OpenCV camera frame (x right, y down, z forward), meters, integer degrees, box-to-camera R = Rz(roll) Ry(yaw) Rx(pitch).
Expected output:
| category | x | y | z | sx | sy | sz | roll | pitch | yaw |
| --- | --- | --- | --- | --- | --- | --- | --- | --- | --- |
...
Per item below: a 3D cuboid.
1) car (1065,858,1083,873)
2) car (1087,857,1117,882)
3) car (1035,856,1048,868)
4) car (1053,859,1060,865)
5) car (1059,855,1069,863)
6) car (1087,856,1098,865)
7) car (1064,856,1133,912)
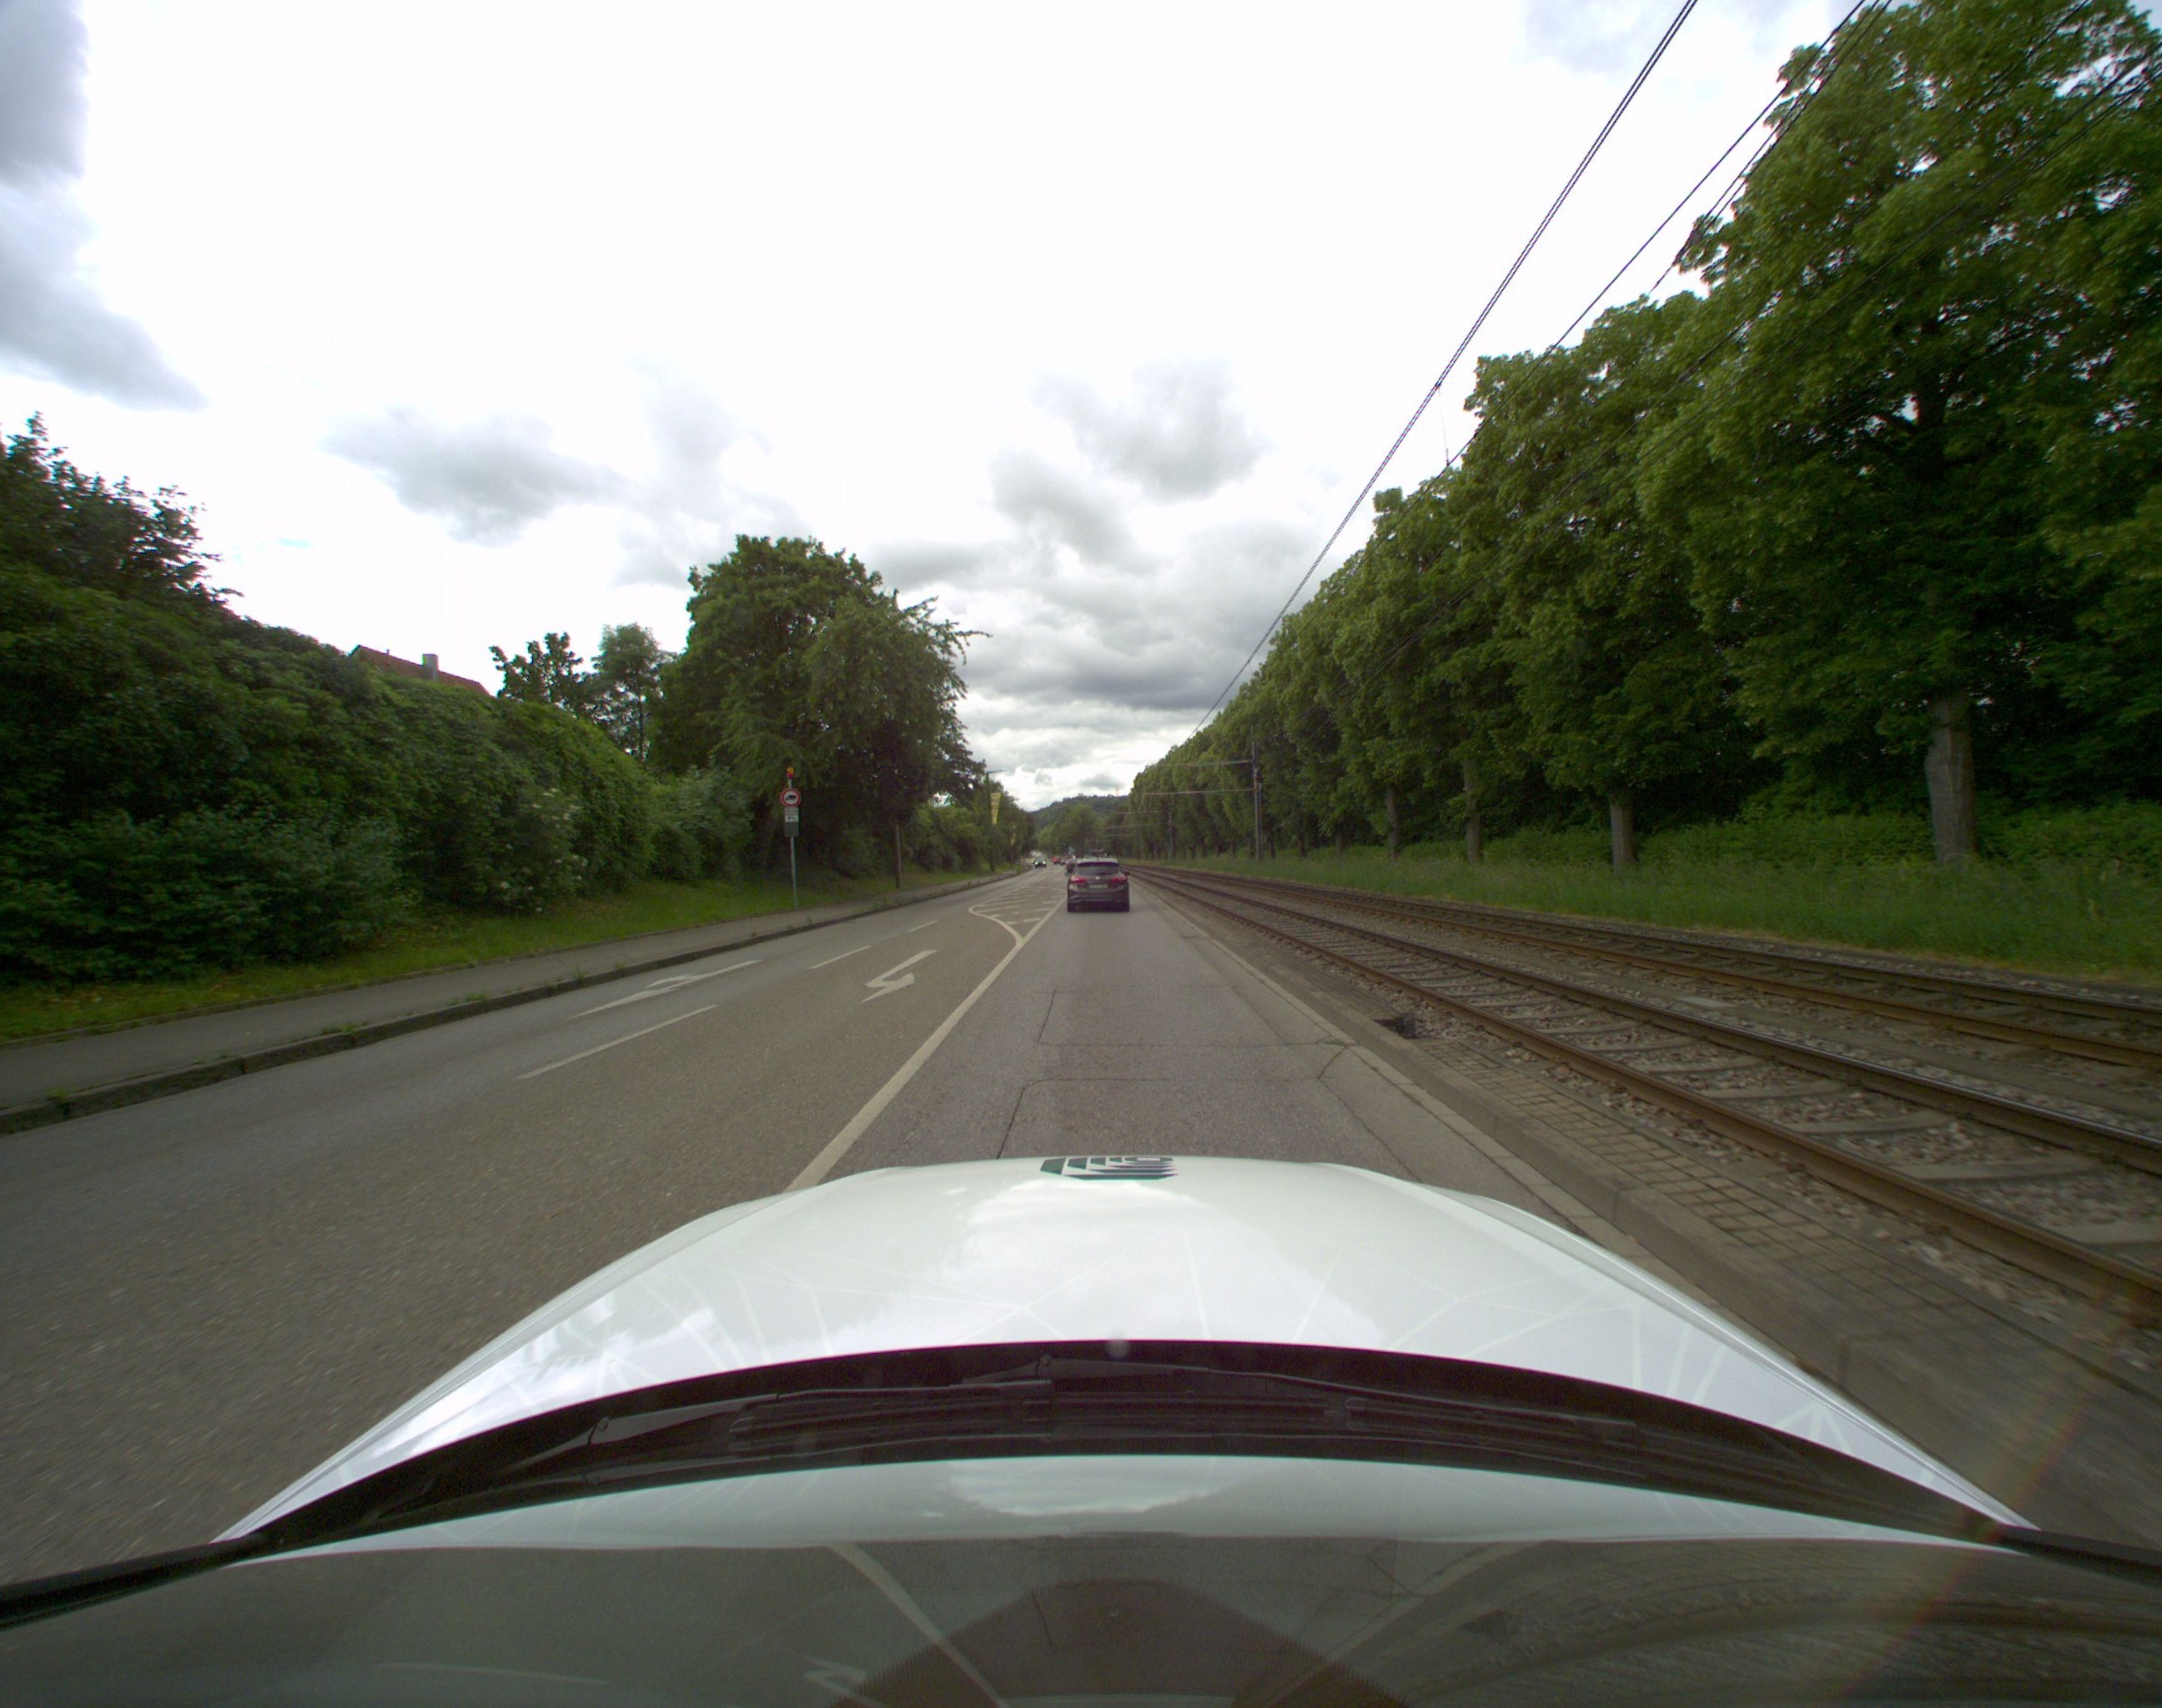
| category | x | y | z | sx | sy | sz | roll | pitch | yaw |
| --- | --- | --- | --- | --- | --- | --- | --- | --- | --- |
| car | -0.689 | 1.107 | 80.299 | 1.695 | 1.443 | 3.998 | -1 | 0 | -1 |
| car | 1.200 | 0.895 | 48.326 | 1.694 | 1.443 | 3.999 | -1 | 0 | 0 |
| car | -6.977 | 1.409 | 144.278 | 1.988 | 2.036 | 5.113 | -3 | 0 | -1 |
| car | -6.370 | 2.064 | 214.444 | 1.694 | 1.714 | 4.001 | -1 | 0 | 1 |
| car | -3.463 | 1.016 | 168.217 | 1.788 | 1.510 | 4.001 | -1 | 0 | 1 |
| car | 1.863 | 1.098 | 131.740 | 1.694 | 1.443 | 4.001 | -1 | 0 | 1 |
| car | 0.547 | 0.836 | 24.327 | 1.844 | 1.493 | 4.001 | -1 | 0 | 2 |
